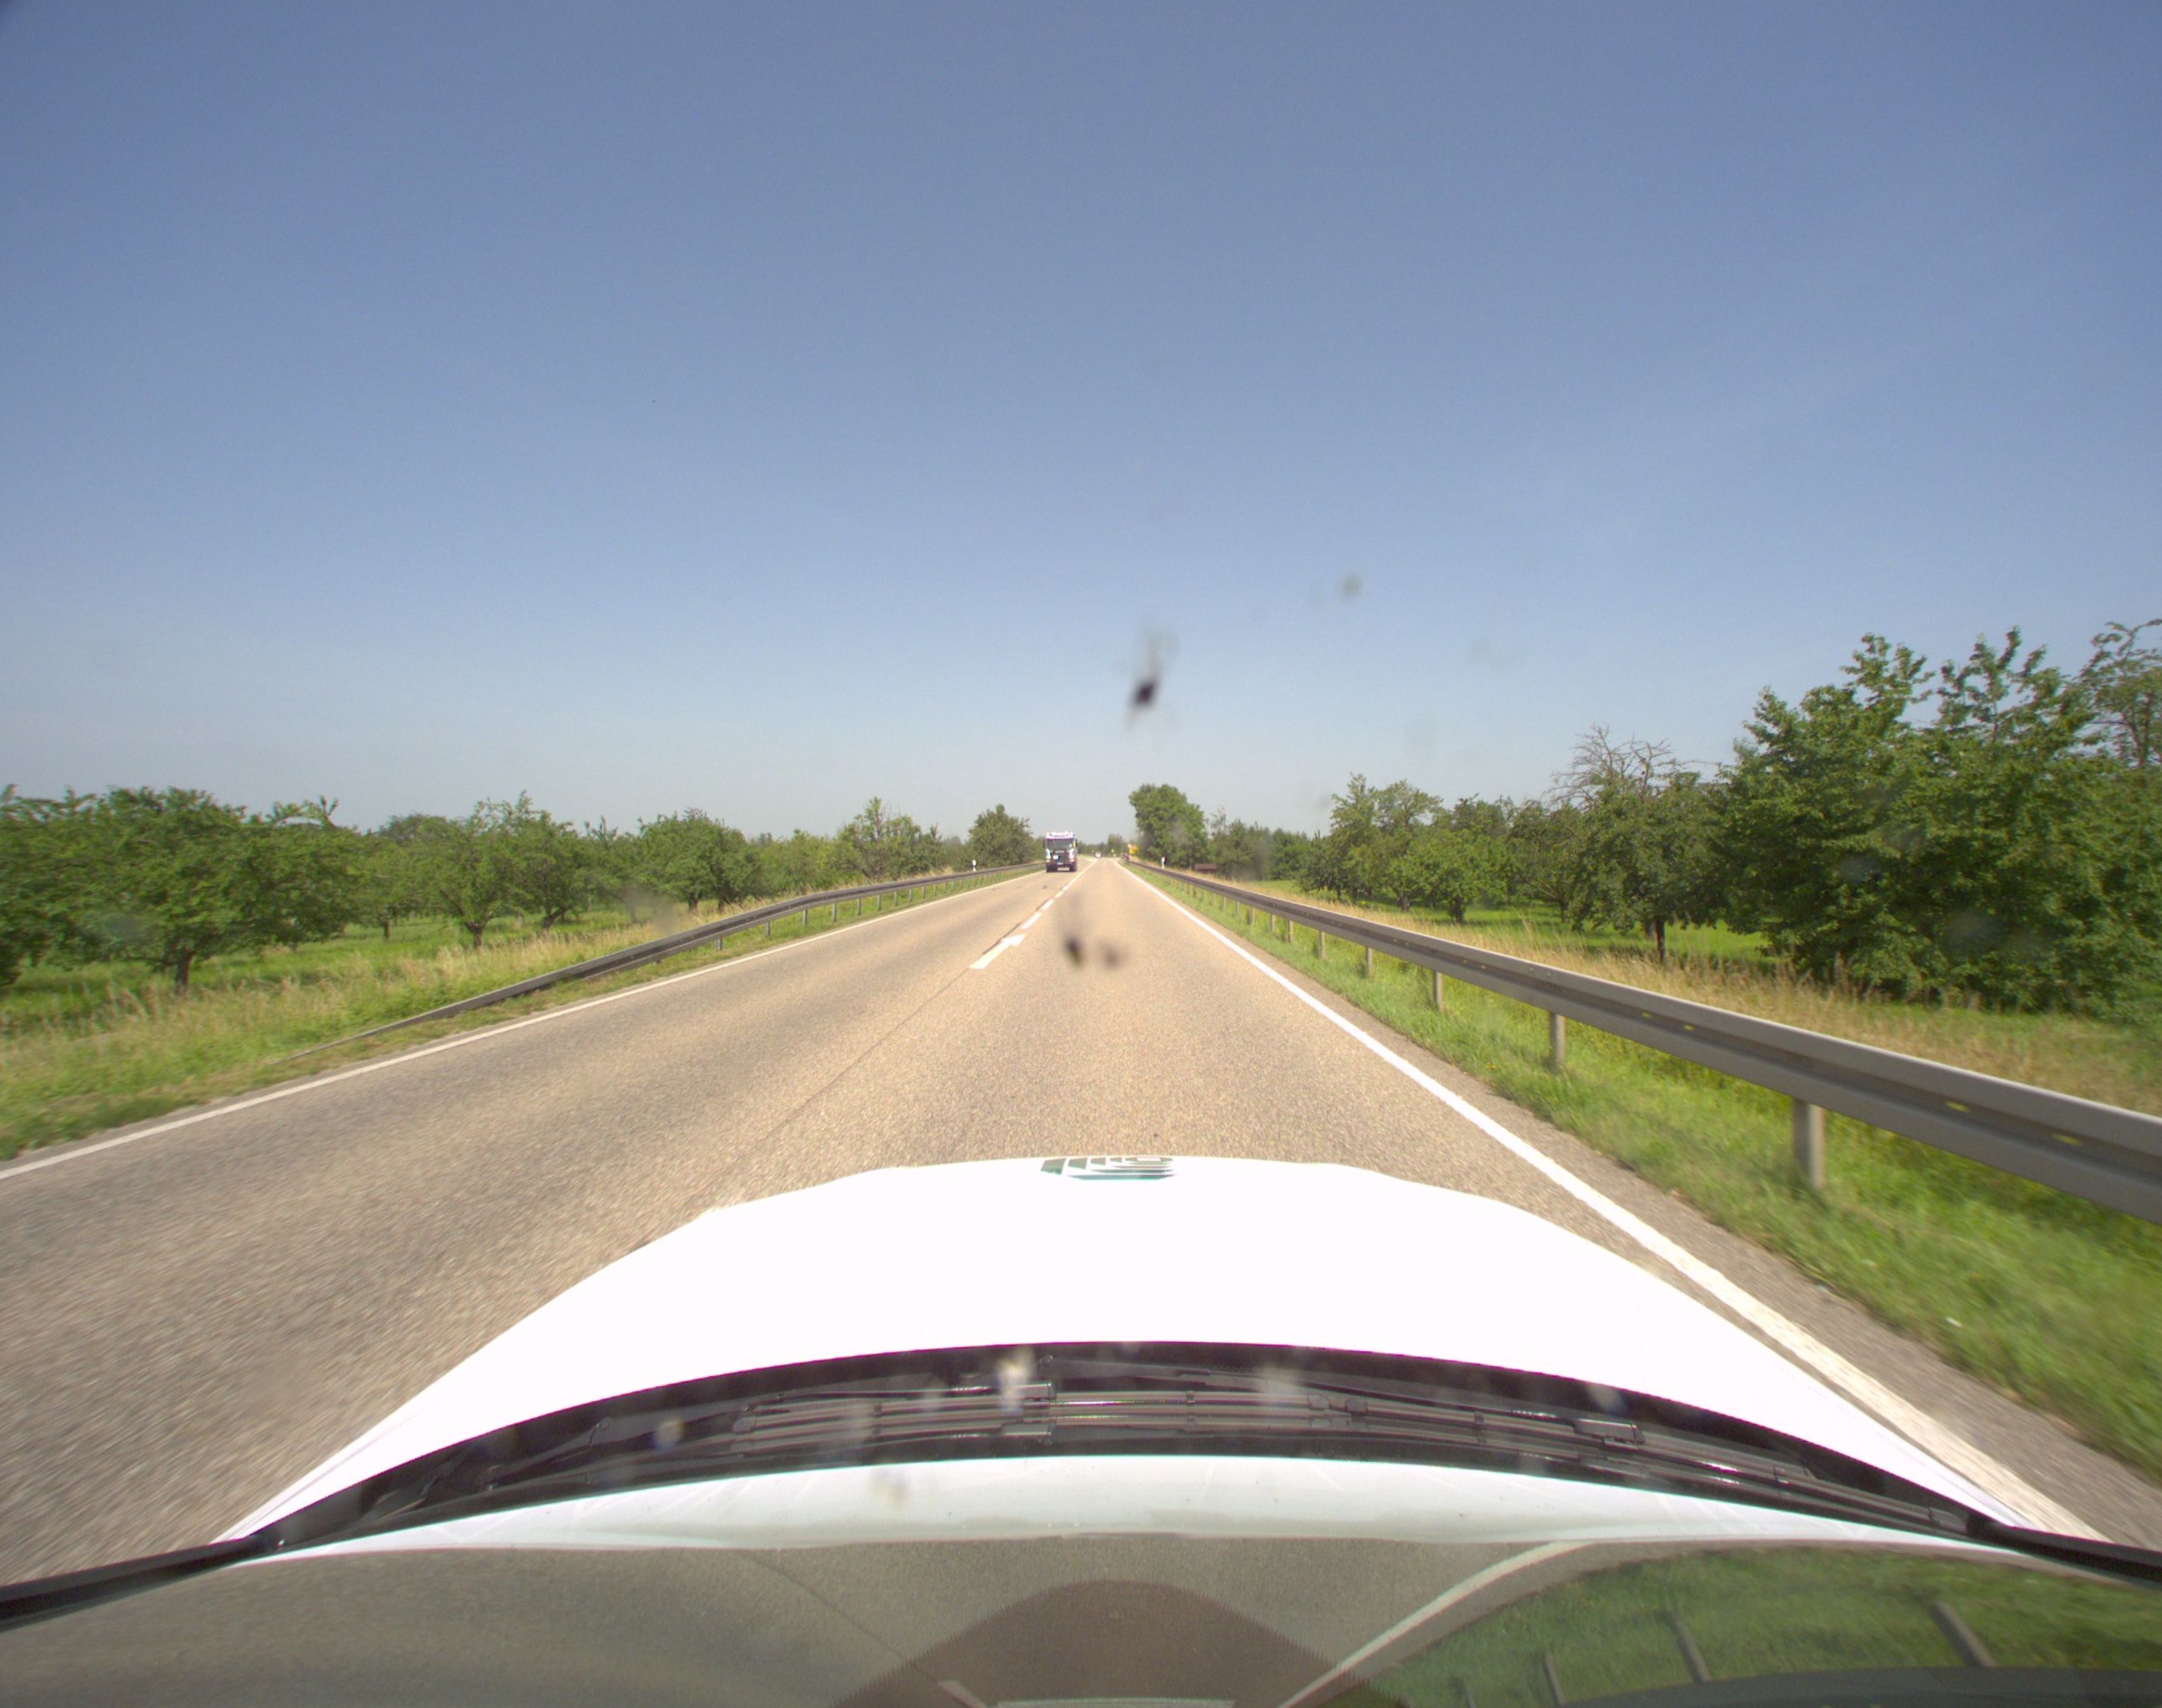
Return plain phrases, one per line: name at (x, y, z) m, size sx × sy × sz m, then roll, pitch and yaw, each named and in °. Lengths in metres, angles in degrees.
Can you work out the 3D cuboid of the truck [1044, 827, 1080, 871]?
truck at (-1.595, -0.409, 73.253) m, size 2.718 × 3.672 × 9.385 m, roll -1°, pitch -1°, yaw 1°
